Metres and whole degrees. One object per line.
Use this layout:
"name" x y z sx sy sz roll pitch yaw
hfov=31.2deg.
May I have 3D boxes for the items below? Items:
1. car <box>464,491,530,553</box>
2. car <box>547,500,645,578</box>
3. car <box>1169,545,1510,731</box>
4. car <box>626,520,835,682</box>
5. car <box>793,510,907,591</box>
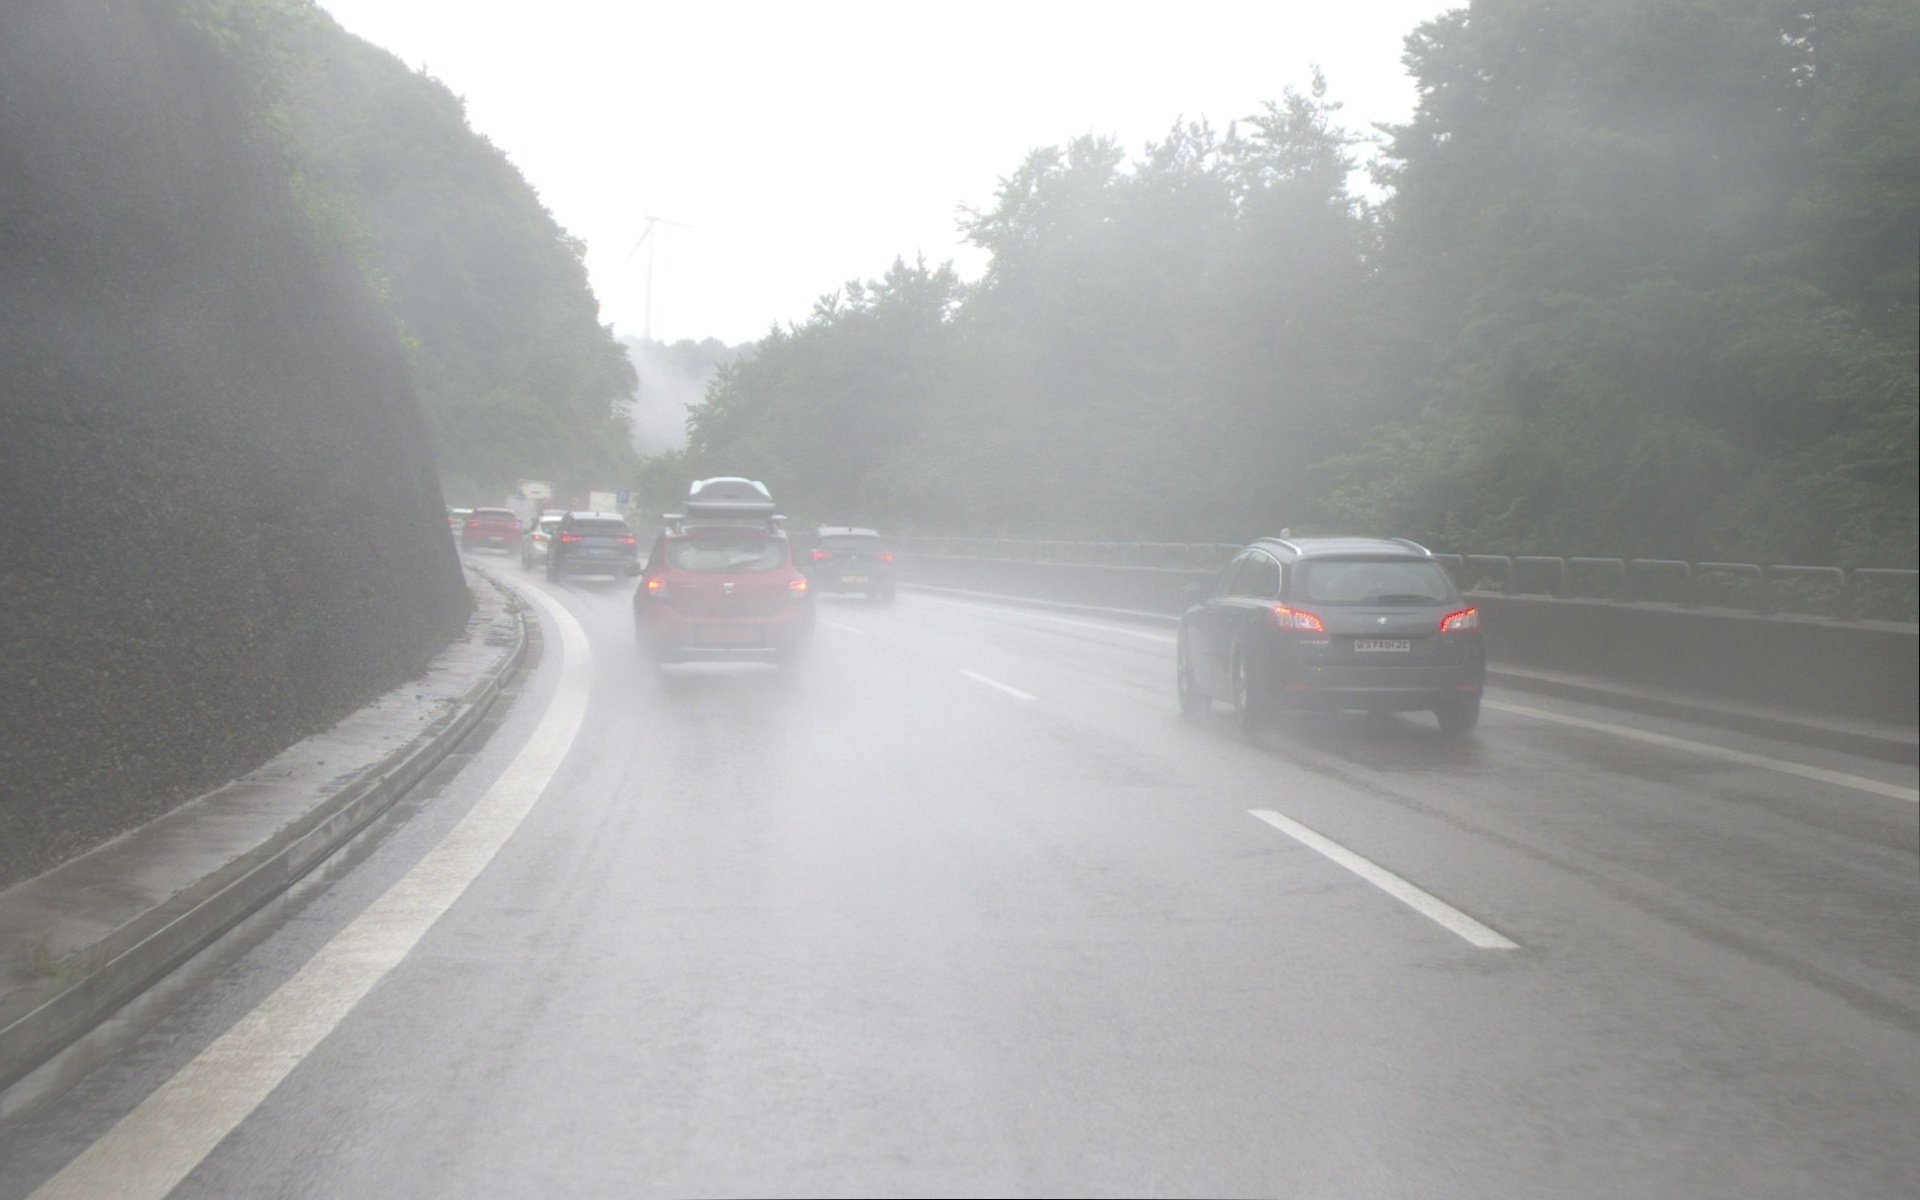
"car" -15.864 -2.648 117.981 1.993 2.007 4.001 1 0 -5
"car" -8.319 -1.367 78.308 1.993 1.678 4.001 1 0 -9
"car" 2.834 0.239 26.523 1.800 1.303 4.001 0 1 -6
"car" -2.375 -0.009 35.168 1.993 1.547 4.001 1 1 -5
"car" -2.199 -0.990 67.992 1.993 1.546 4.001 0 1 -6
